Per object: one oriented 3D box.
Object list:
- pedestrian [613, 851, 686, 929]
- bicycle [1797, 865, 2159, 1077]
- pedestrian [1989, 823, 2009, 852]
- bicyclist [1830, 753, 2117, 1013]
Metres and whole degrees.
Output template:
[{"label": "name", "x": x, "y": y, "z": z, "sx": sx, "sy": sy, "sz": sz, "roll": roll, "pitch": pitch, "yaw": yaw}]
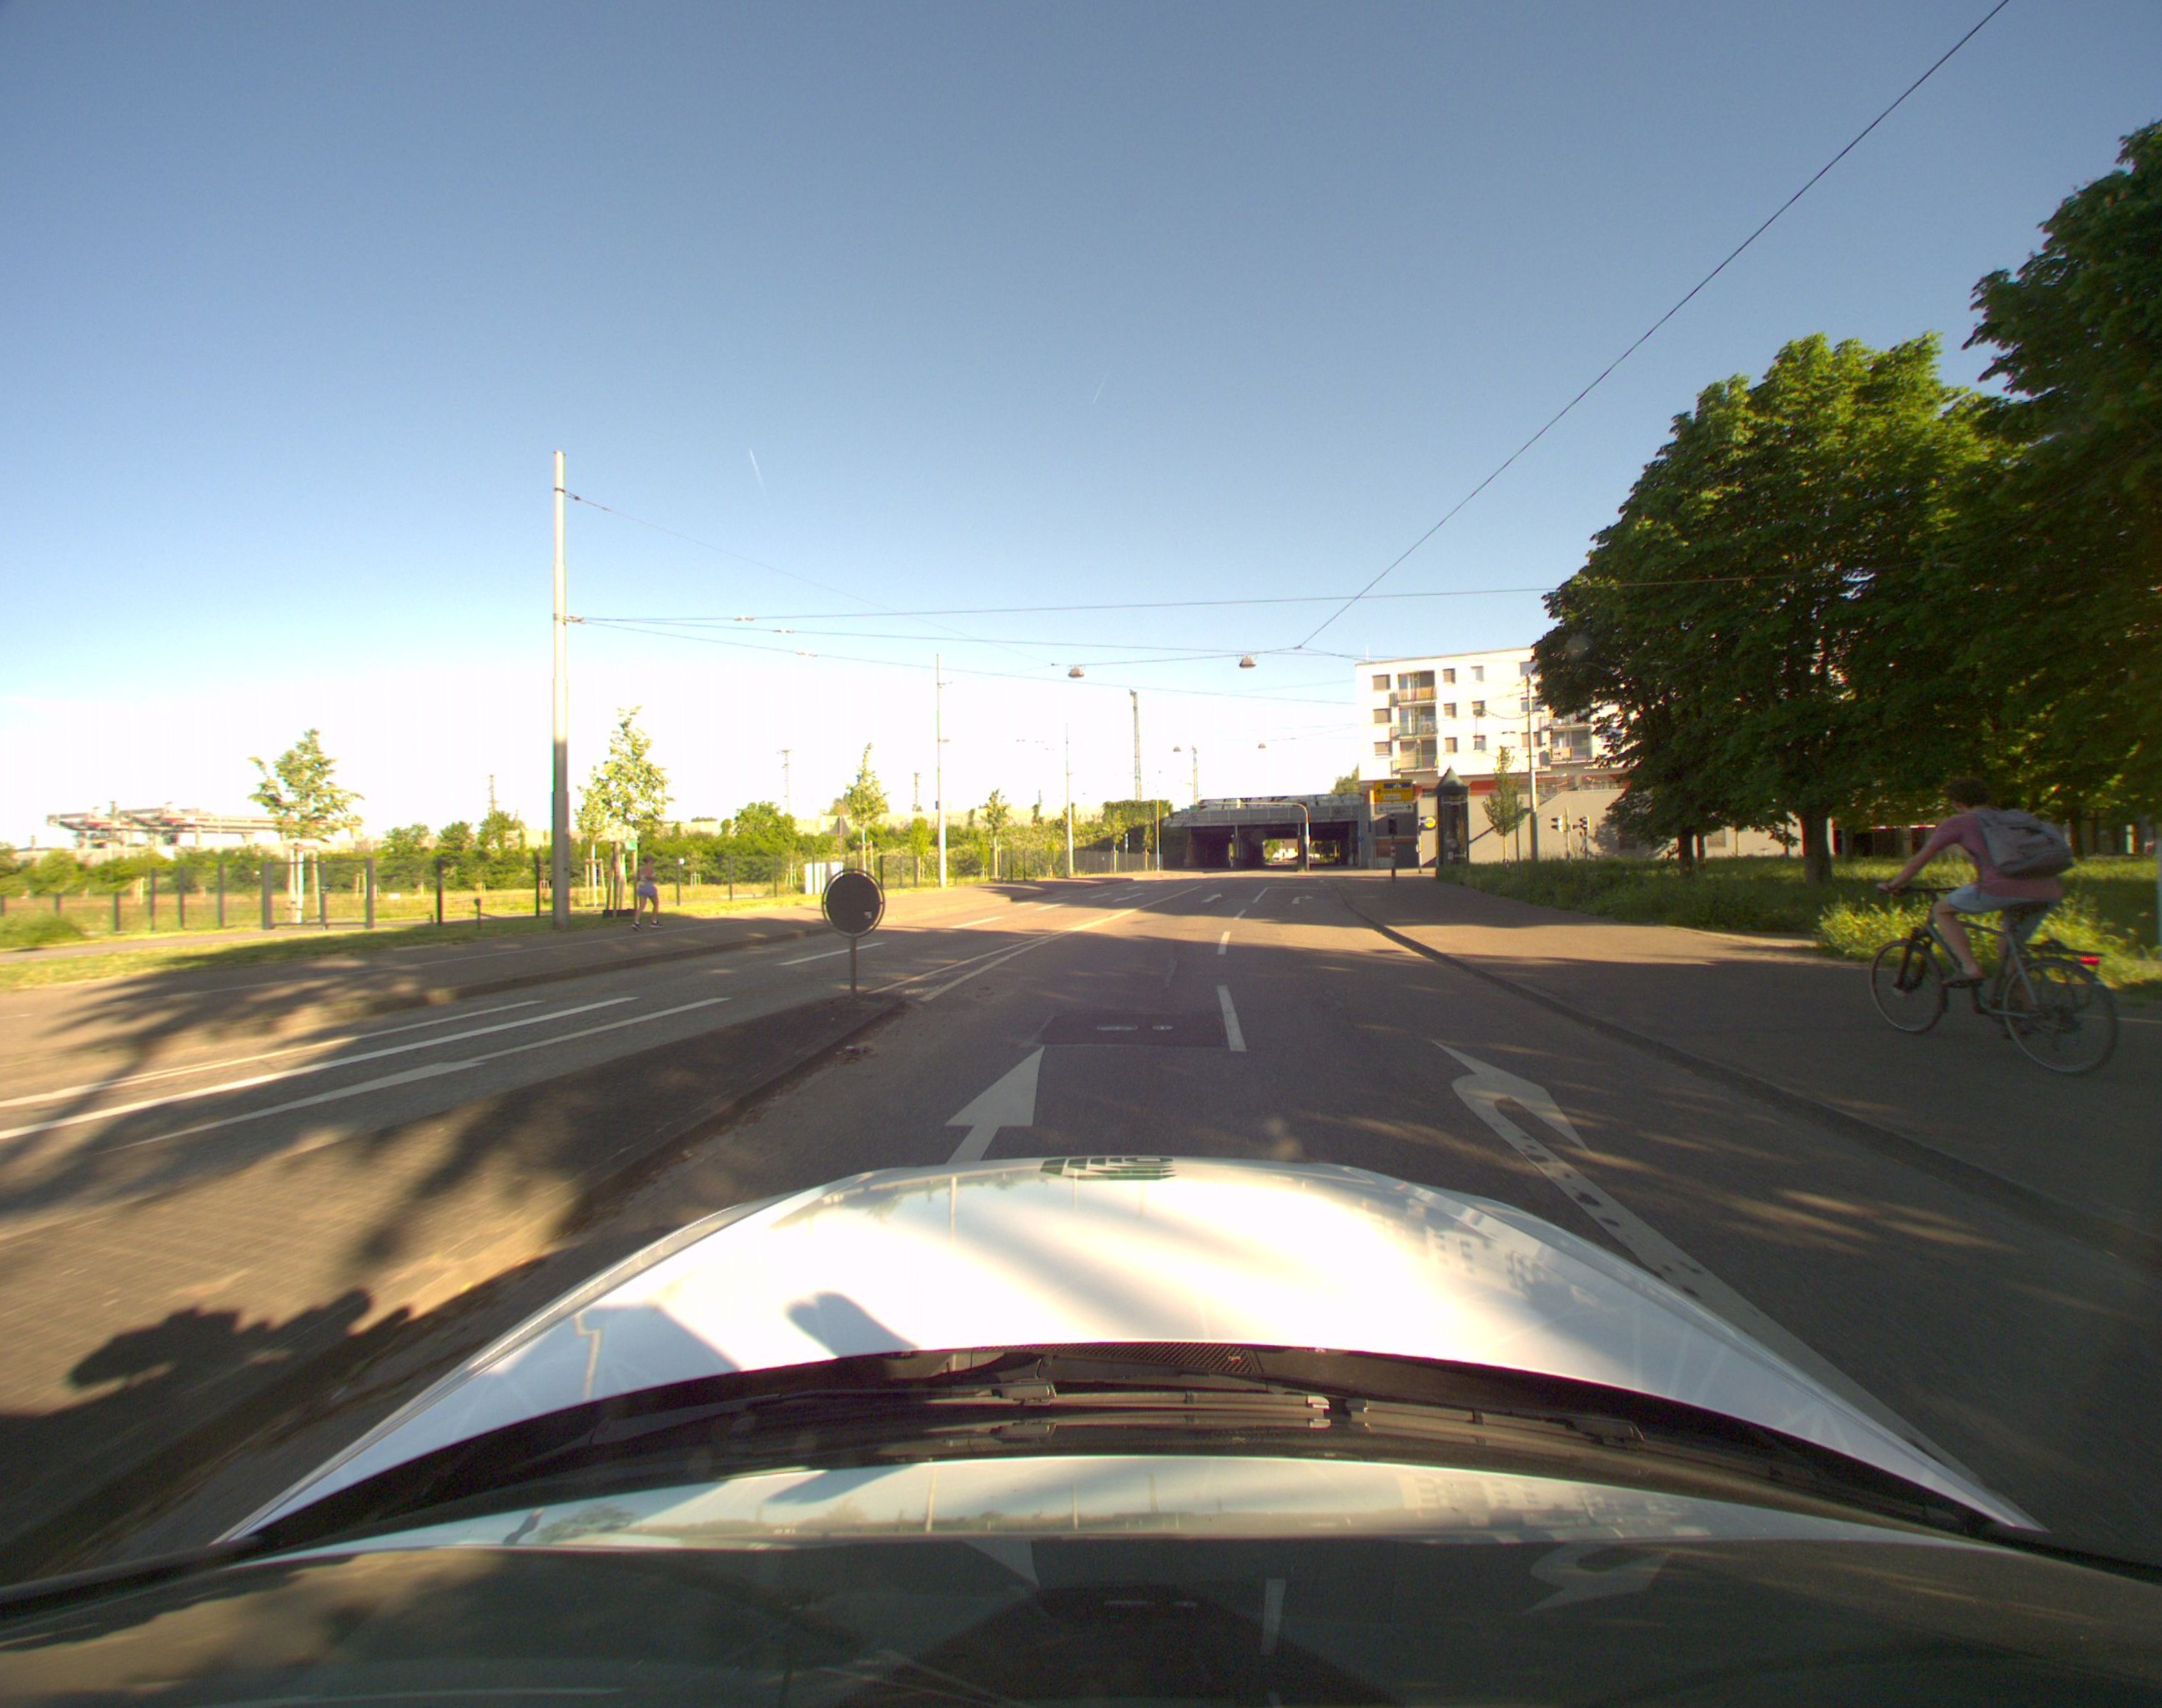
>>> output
[{"label": "pedestrian", "x": -9.518, "y": 0.770, "z": 17.999, "sx": 0.826, "sy": 1.629, "sz": 1.186, "roll": 1, "pitch": 1, "yaw": 18}, {"label": "bicycle", "x": 6.077, "y": 0.697, "z": 5.734, "sx": 0.713, "sy": 1.192, "sz": 2.009, "roll": -2, "pitch": -1, "yaw": 15}, {"label": "pedestrian", "x": 56.528, "y": -1.010, "z": 50.133, "sx": 0.654, "sy": 1.702, "sz": 0.604, "roll": 0, "pitch": -2, "yaw": 32}, {"label": "bicyclist", "x": 6.083, "y": 0.189, "z": 5.659, "sx": 0.805, "sy": 1.599, "sz": 1.154, "roll": -2, "pitch": -1, "yaw": 15}]
